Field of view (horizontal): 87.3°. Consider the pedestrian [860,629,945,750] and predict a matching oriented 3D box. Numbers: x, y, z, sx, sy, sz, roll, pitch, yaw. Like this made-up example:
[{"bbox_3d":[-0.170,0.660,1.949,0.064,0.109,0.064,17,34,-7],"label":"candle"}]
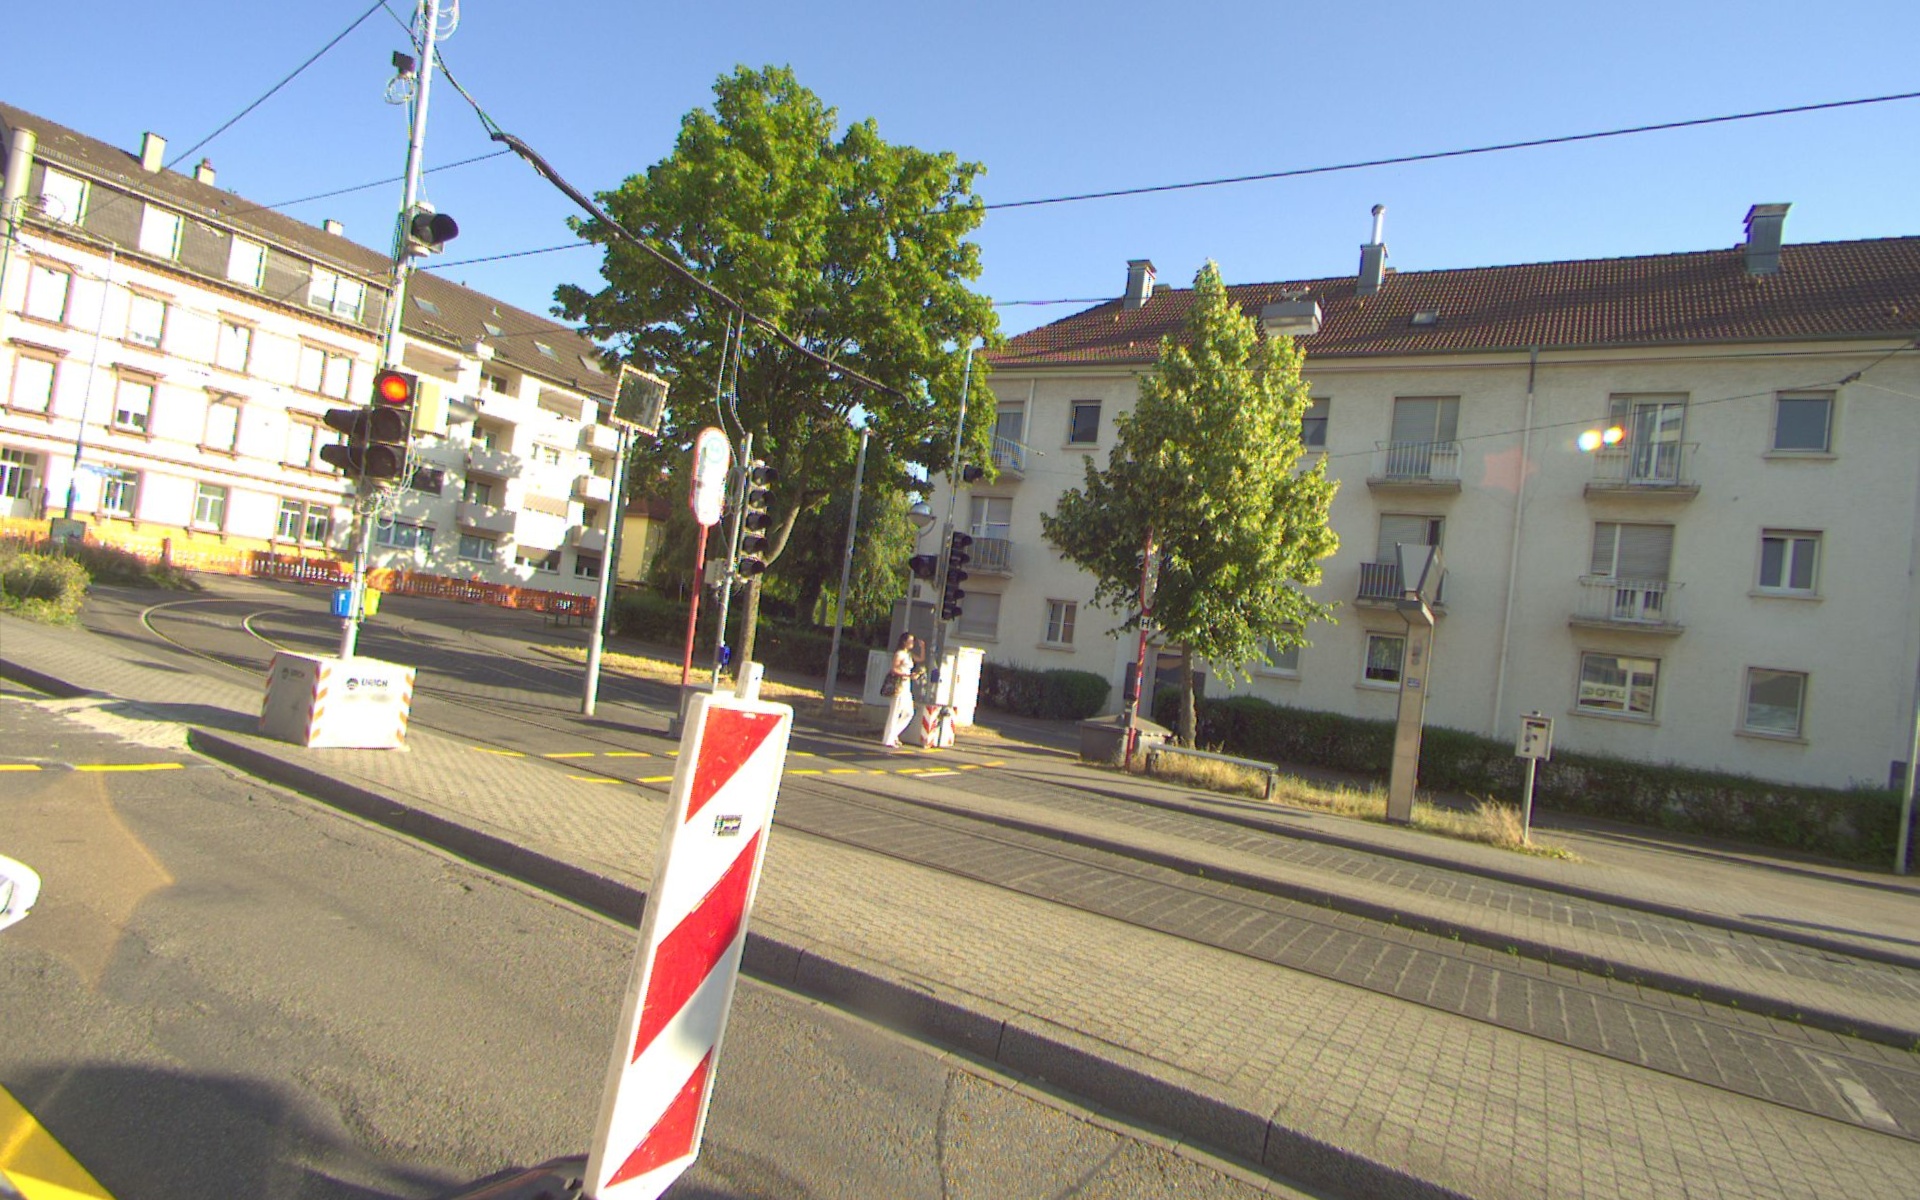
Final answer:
[{"bbox_3d":[-0.837,1.309,14.820,0.777,1.639,0.827,7,-1,23],"label":"pedestrian"}]
